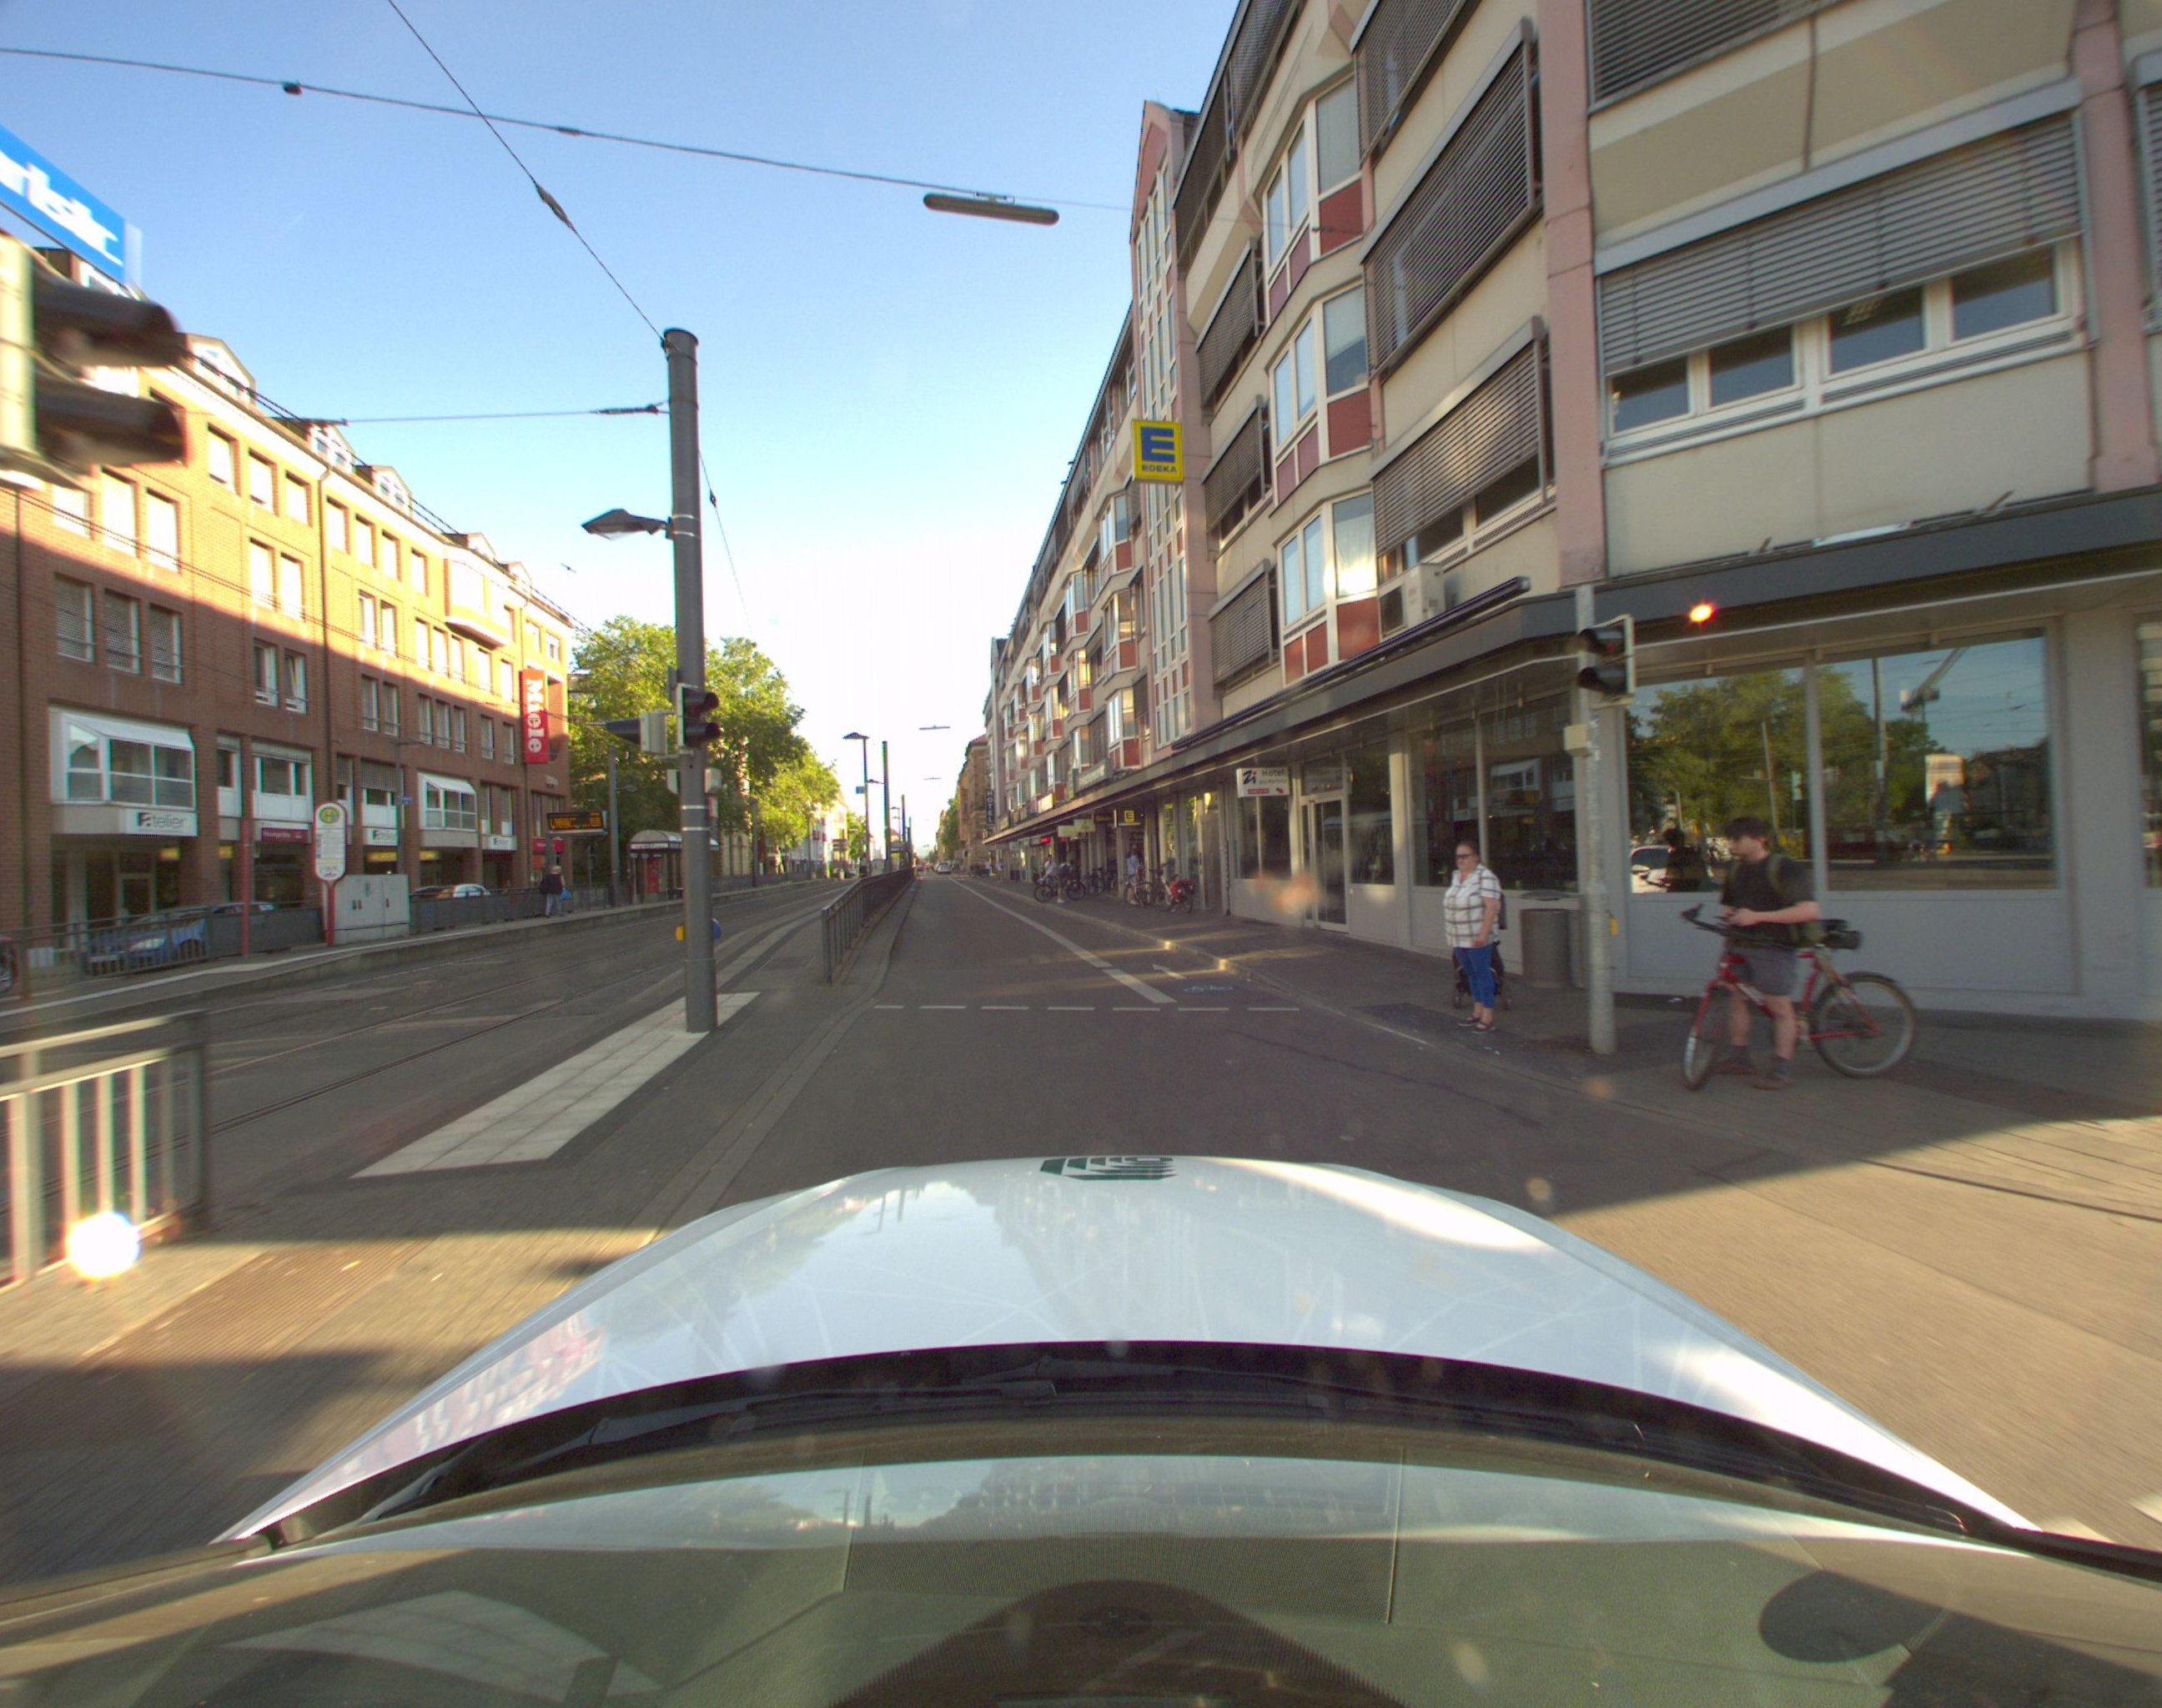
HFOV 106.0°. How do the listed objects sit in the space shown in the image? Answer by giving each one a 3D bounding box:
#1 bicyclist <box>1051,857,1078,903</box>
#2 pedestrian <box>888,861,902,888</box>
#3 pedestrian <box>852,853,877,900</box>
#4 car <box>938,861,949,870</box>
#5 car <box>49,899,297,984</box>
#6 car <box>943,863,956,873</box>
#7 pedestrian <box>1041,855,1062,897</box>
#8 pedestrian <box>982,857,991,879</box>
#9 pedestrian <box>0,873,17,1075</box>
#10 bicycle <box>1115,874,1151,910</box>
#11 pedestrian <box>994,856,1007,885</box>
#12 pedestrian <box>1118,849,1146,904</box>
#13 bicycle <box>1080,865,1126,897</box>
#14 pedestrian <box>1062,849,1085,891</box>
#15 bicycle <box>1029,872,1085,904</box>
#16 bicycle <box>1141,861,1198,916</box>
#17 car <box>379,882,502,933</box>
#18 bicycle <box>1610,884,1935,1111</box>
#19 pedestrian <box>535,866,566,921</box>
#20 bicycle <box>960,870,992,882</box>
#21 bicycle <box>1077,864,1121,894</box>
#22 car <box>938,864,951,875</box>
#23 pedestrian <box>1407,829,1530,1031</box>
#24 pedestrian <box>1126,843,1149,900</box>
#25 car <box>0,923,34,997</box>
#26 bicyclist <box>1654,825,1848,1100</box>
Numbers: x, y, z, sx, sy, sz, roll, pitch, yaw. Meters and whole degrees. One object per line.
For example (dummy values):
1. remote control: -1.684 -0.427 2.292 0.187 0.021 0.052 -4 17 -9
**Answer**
1. bicyclist: -0.563 0.902 28.637 0.797 1.532 0.628 -5 0 0
2. pedestrian: -12.005 1.316 52.510 0.782 1.659 0.679 -2 1 -22
3. pedestrian: -7.938 0.805 29.855 0.782 1.659 0.679 -2 1 -22
4. car: -25.989 2.122 153.678 1.993 1.552 3.988 -2 1 -9
5. car: -20.880 1.935 19.014 1.745 1.424 3.924 -2 1 -10
6. car: -22.197 2.359 137.330 1.993 1.552 3.988 -2 1 -9
7. pedestrian: -1.207 0.884 33.063 0.750 1.644 0.549 -2 1 -7
8. pedestrian: -8.724 1.309 75.451 0.772 2.013 0.503 -2 1 -8
9. pedestrian: -9.613 1.030 6.744 0.616 1.694 0.873 -1 1 42
10. bicycle: 1.448 1.050 22.943 0.500 0.917 2.071 -2 0 -10
11. pedestrian: -5.686 1.141 57.400 0.838 2.013 0.776 -2 1 -7
12. pedestrian: 1.551 0.676 24.773 0.603 1.635 0.607 -1 1 30
13. bicycle: 0.829 1.000 30.899 1.647 1.119 0.481 -2 1 -17
14. pedestrian: -0.332 0.688 35.439 0.812 1.778 0.683 -1 1 14
15. bicycle: -0.833 1.211 29.035 1.898 0.930 0.628 -5 0 -1
16. bicycle: 2.140 0.808 20.005 0.727 1.227 2.324 -2 0 -10
17. car: -22.796 1.855 29.175 1.745 1.424 3.924 -2 1 -10
18. bicycle: 4.444 0.855 5.258 1.766 1.145 0.638 -5 2 -13
19. pedestrian: -16.059 1.178 24.660 0.694 1.577 0.614 -2 1 -36
20. bicycle: -10.643 2.204 82.482 3.189 0.992 0.891 -3 1 -39
21. bicycle: 0.710 0.974 32.322 1.647 1.119 0.563 -2 1 -17
22. car: -21.881 2.489 130.794 1.993 1.552 3.988 -2 1 -9
23. pedestrian: 3.408 0.630 7.179 0.637 1.662 0.708 -2 -1 -40
24. pedestrian: 1.881 0.582 27.102 0.608 1.852 0.602 -2 1 -6
25. car: -19.655 1.943 12.731 1.744 1.244 3.926 -2 1 -9
26. bicyclist: 4.263 0.641 5.215 0.657 1.596 0.638 -5 2 -13
